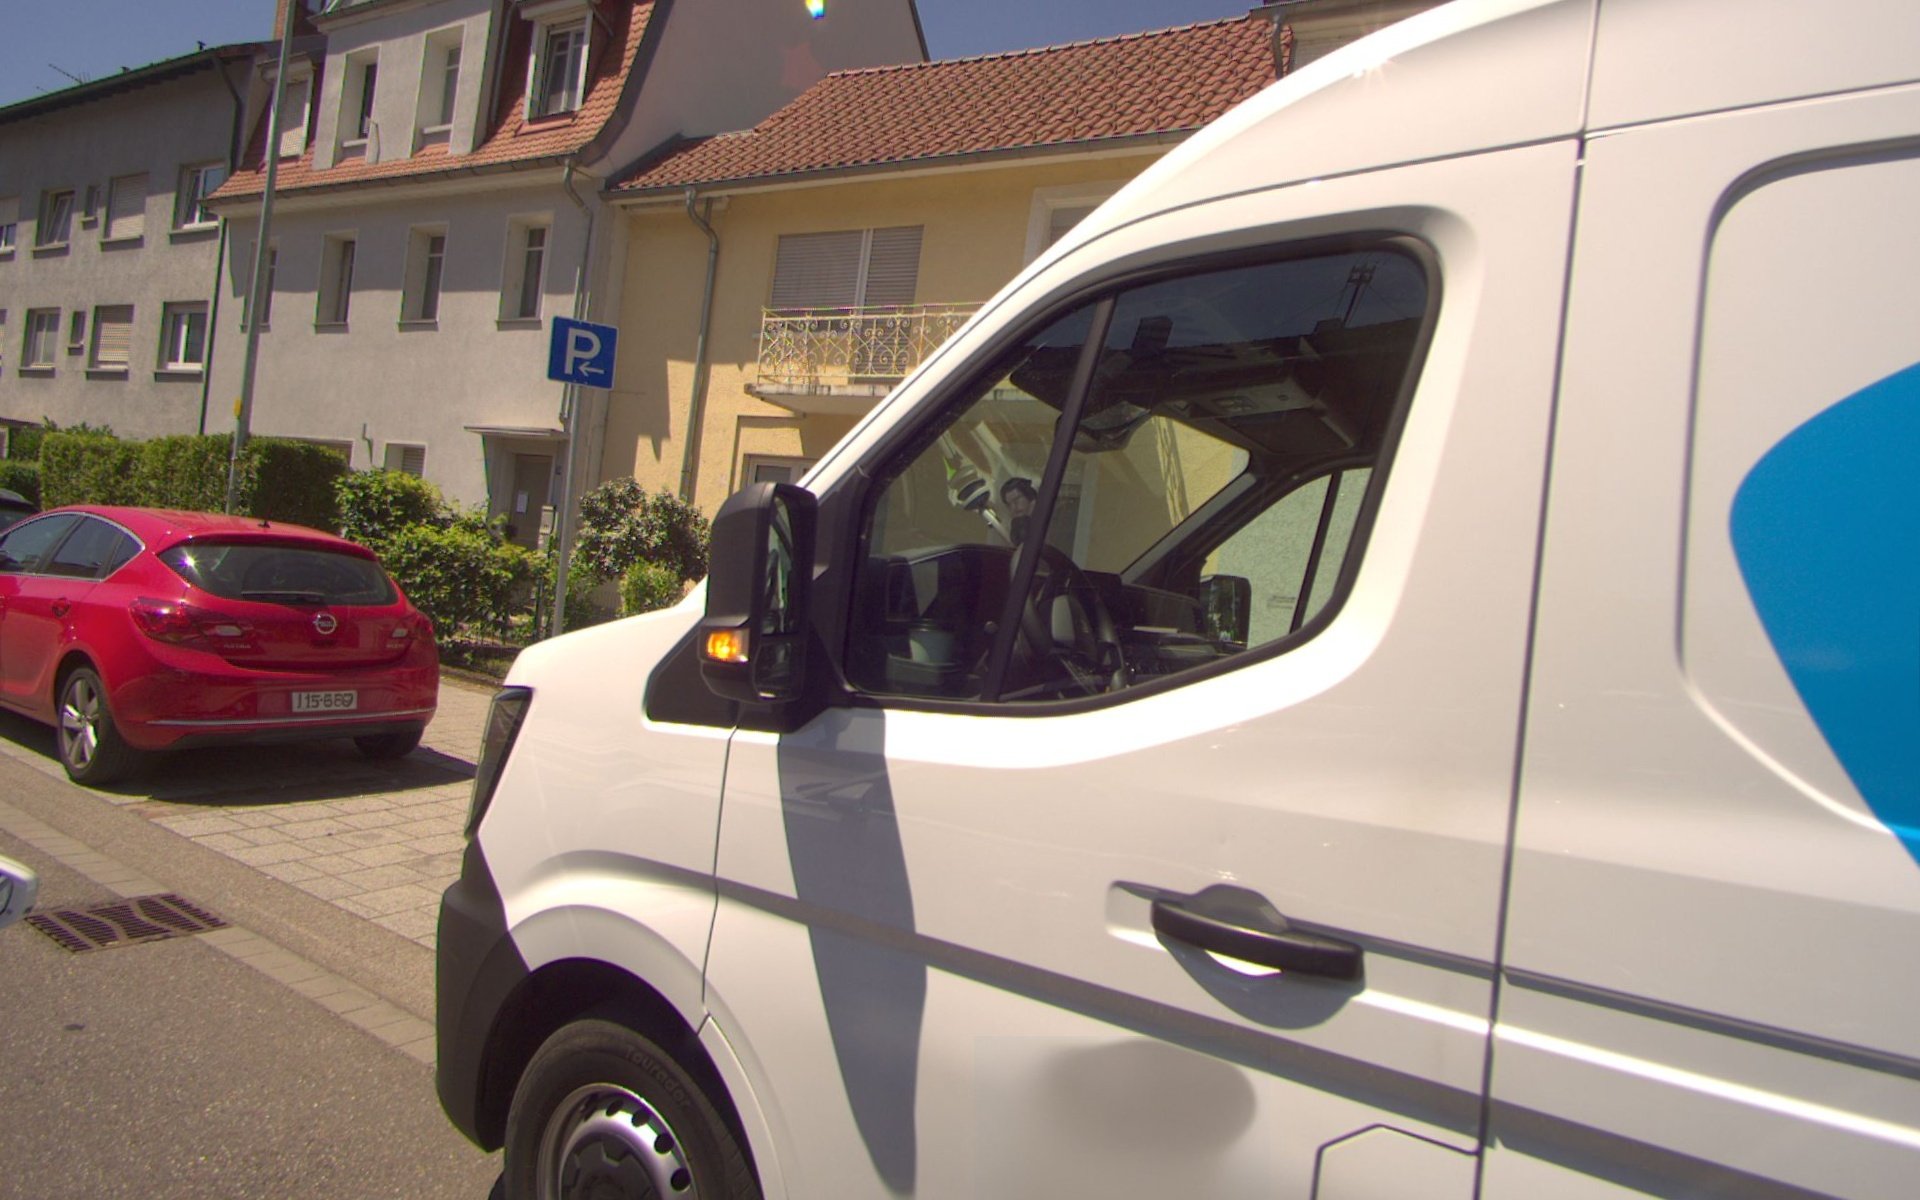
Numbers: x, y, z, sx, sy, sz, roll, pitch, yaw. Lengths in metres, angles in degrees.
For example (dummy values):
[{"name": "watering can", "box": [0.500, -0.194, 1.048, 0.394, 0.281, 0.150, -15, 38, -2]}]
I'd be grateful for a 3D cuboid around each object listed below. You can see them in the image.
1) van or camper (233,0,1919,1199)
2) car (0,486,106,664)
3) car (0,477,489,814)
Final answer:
[{"name": "van or camper", "box": [1.673, 0.457, 1.463, 6.073, 2.499, 2.110, 6, 1, 31]}, {"name": "car", "box": [-10.326, -0.447, 9.637, 4.640, 1.495, 1.804, 7, 3, 30]}, {"name": "car", "box": [-5.290, 0.097, 6.720, 4.080, 1.550, 1.805, 7, 2, 30]}]
